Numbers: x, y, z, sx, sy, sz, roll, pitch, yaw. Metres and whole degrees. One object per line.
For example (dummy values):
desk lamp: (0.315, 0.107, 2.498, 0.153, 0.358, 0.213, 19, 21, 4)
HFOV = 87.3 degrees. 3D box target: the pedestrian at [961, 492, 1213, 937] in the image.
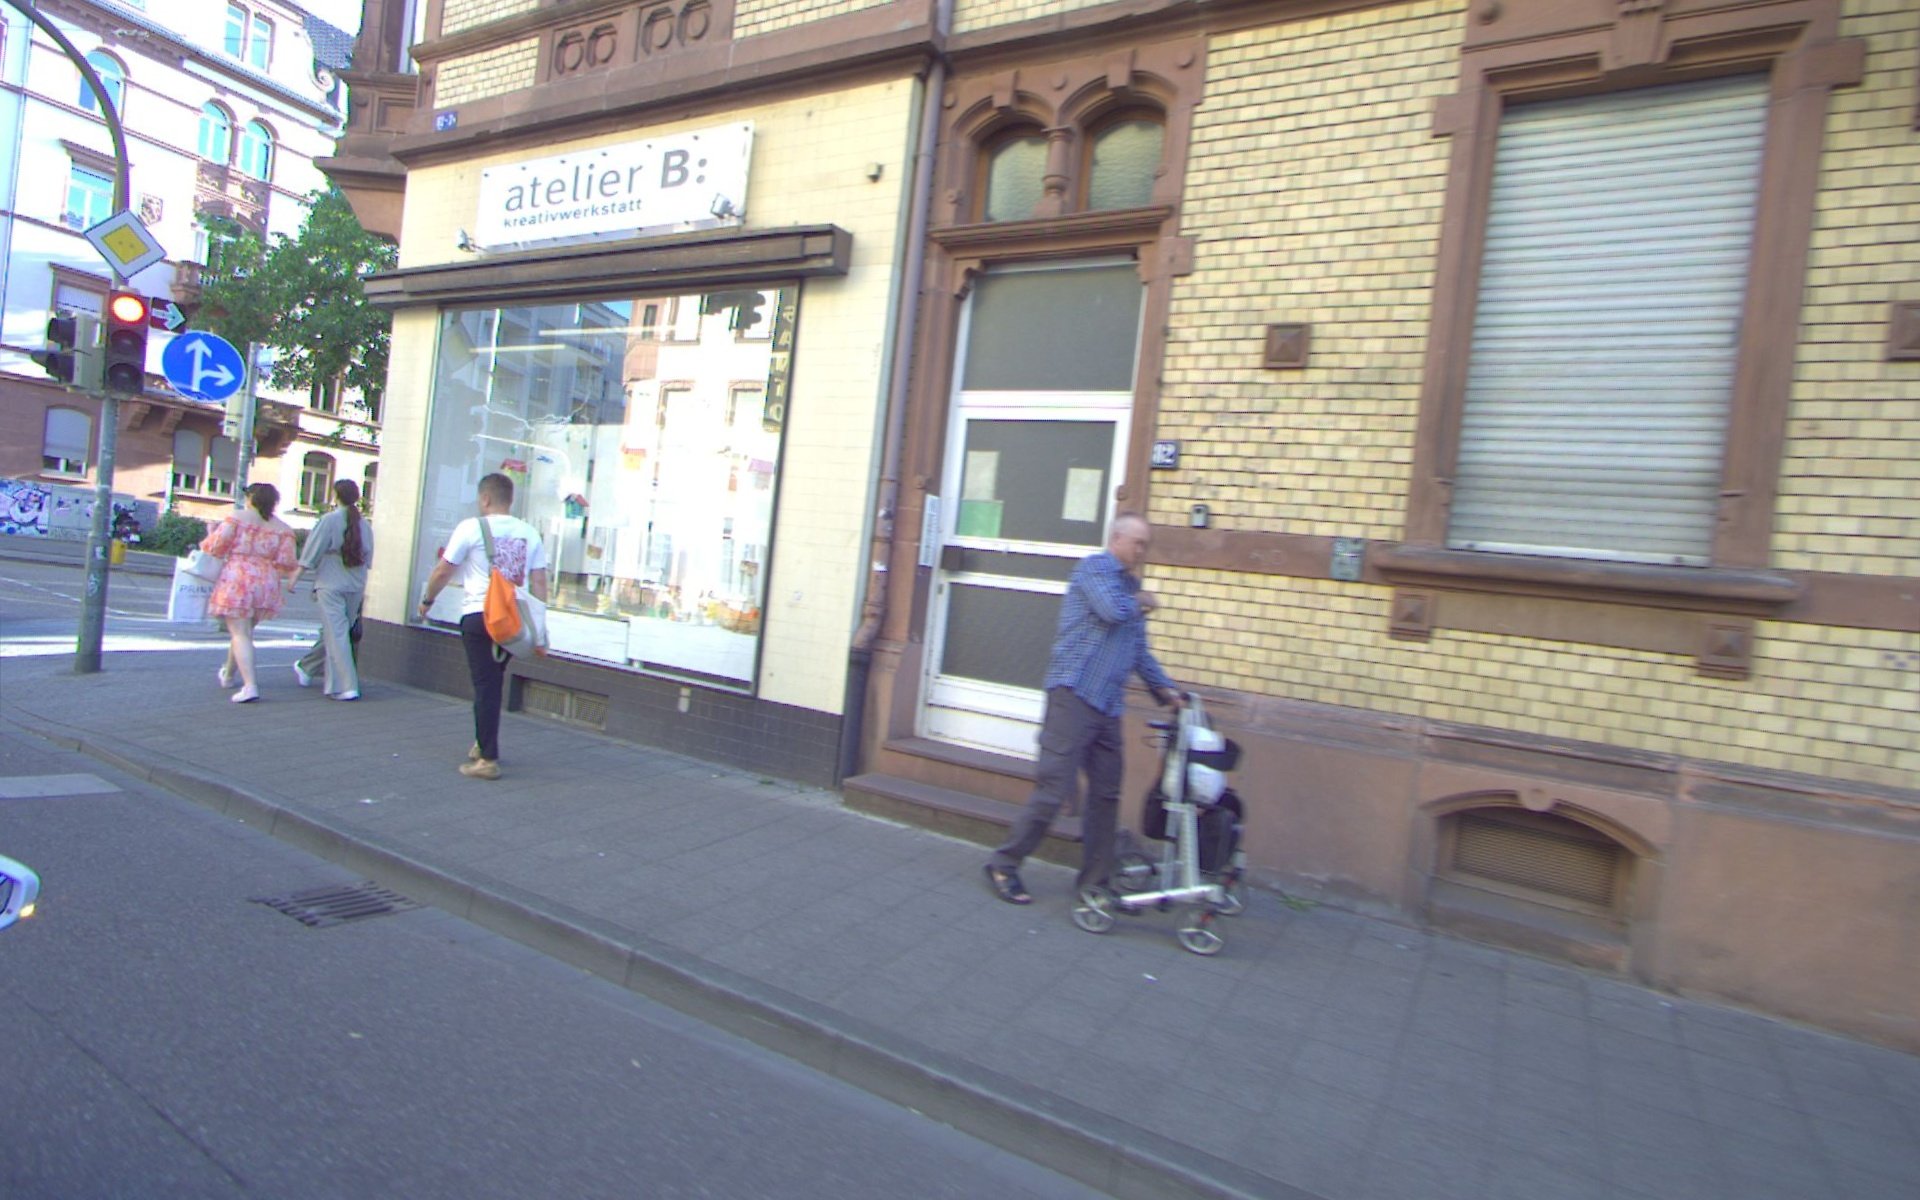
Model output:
pedestrian: (0.603, 0.467, 4.695, 0.748, 1.826, 0.805, 8, 5, 30)

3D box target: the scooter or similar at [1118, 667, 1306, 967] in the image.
scooter or similar: (1.134, 0.898, 4.464, 0.512, 1.086, 0.805, 7, 5, 30)

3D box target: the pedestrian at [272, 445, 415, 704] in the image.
pedestrian: (-4.923, -0.211, 8.040, 0.659, 1.936, 0.690, 8, 5, 29)

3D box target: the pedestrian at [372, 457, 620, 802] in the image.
pedestrian: (-2.780, 0.132, 6.027, 1.073, 1.826, 0.805, 8, 5, 29)

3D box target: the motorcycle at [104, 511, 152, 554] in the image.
motorcycle: (-24.765, -2.021, 29.920, 2.254, 1.033, 0.718, 10, 3, 42)

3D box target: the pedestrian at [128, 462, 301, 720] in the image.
pedestrian: (-5.733, -0.081, 7.746, 0.748, 1.826, 0.805, 8, 5, 29)
